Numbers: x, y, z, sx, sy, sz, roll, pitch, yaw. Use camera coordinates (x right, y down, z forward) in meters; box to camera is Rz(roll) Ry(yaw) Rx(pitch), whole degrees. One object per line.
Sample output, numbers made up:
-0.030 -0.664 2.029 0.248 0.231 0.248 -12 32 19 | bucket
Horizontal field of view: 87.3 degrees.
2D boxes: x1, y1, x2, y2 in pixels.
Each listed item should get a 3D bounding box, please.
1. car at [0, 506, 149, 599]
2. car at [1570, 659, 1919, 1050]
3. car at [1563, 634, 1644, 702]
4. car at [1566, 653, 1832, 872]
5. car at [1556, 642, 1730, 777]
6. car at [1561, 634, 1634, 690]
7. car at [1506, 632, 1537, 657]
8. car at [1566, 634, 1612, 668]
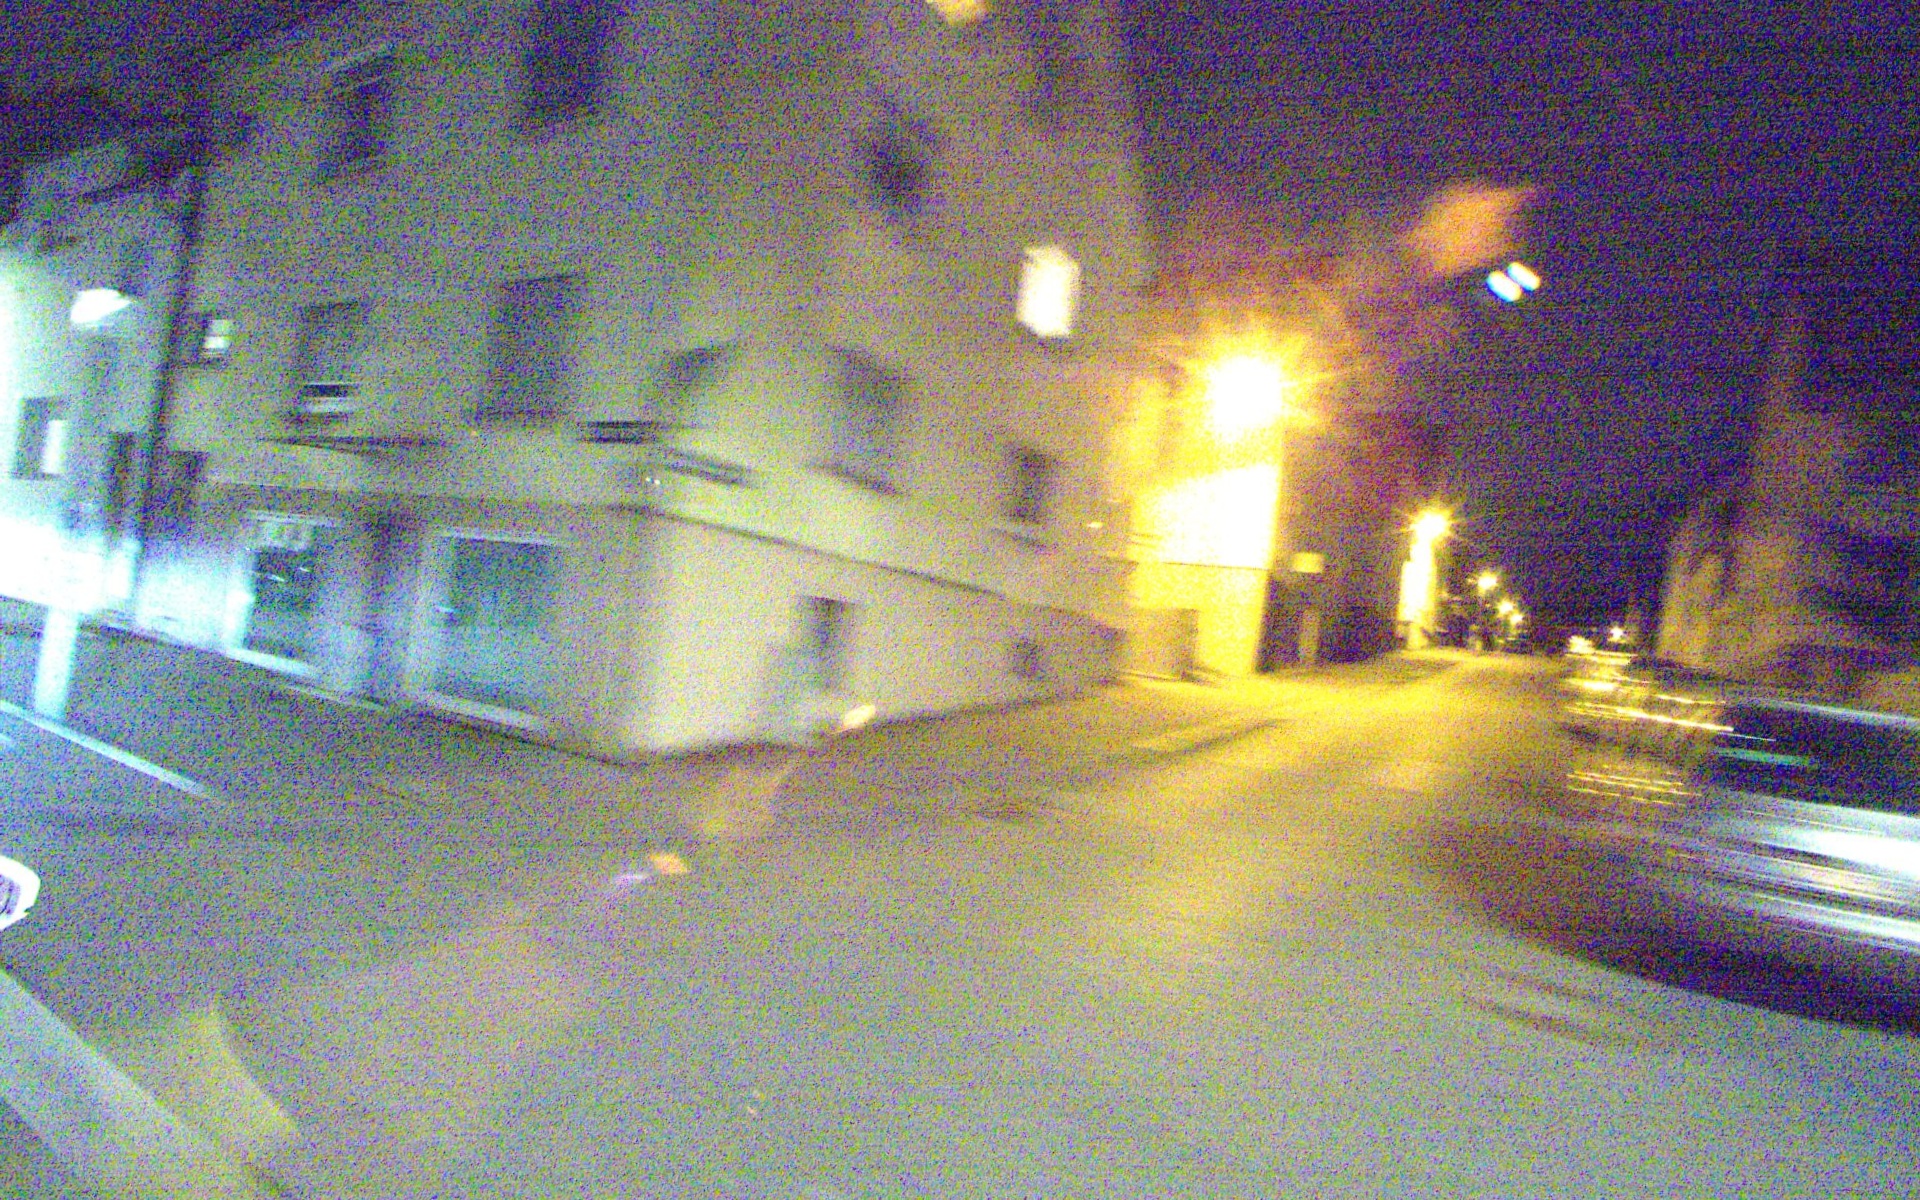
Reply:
-18.367 -1.033 19.473 1.703 1.490 3.717 6 -3 34 | car
4.886 1.256 6.126 1.790 1.545 3.508 6 1 30 | car
18.130 1.855 28.502 1.600 1.580 4.081 7 2 30 | car
7.160 1.412 10.129 1.649 1.516 3.845 6 2 31 | car
10.330 1.535 15.516 1.648 1.491 4.362 6 2 28 | car
21.381 2.029 33.853 1.763 1.504 4.081 7 3 30 | car
42.265 3.341 75.743 1.763 1.564 4.080 7 3 31 | car
32.603 2.602 52.236 1.763 1.464 4.081 7 3 30 | car
